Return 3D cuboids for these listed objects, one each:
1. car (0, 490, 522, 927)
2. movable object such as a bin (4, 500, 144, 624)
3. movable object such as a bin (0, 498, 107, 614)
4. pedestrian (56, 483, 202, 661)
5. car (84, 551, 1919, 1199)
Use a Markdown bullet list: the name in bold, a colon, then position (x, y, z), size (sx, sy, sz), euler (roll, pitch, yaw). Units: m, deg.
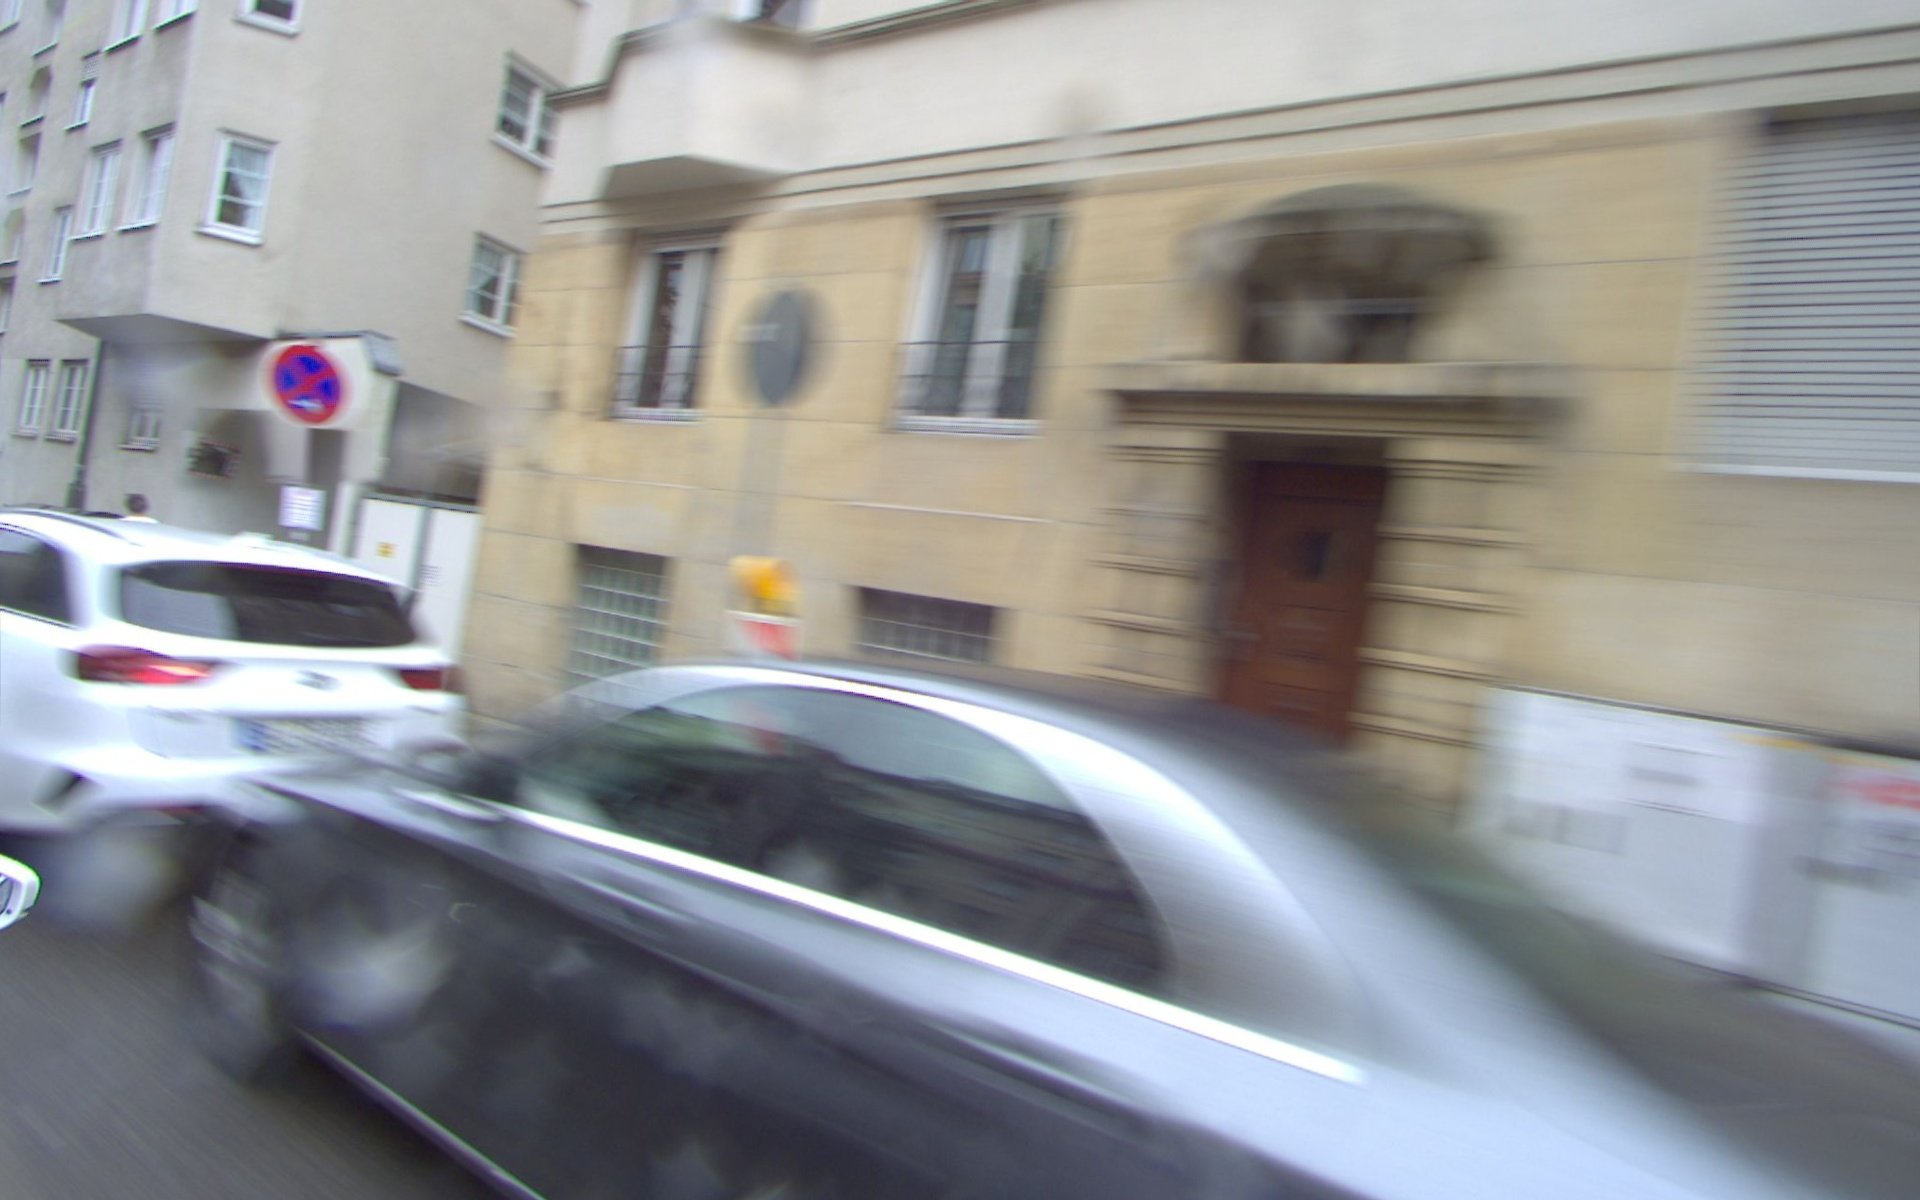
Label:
- **car**: position (-4.646, 0.271, 5.453), size (4.696, 1.484, 1.715), euler (6, -2, 33)
- **movable object such as a bin**: position (-12.098, -0.518, 13.742), size (1.252, 1.485, 0.982), euler (6, -2, 32)
- **movable object such as a bin**: position (-13.323, -0.643, 14.549), size (1.301, 1.485, 1.020), euler (6, -2, 32)
- **pedestrian**: position (-8.626, -0.277, 10.457), size (0.742, 1.707, 0.806), euler (6, -2, 31)
- **car**: position (-0.311, 0.841, 2.633), size (4.740, 1.426, 1.713), euler (6, -2, 34)
